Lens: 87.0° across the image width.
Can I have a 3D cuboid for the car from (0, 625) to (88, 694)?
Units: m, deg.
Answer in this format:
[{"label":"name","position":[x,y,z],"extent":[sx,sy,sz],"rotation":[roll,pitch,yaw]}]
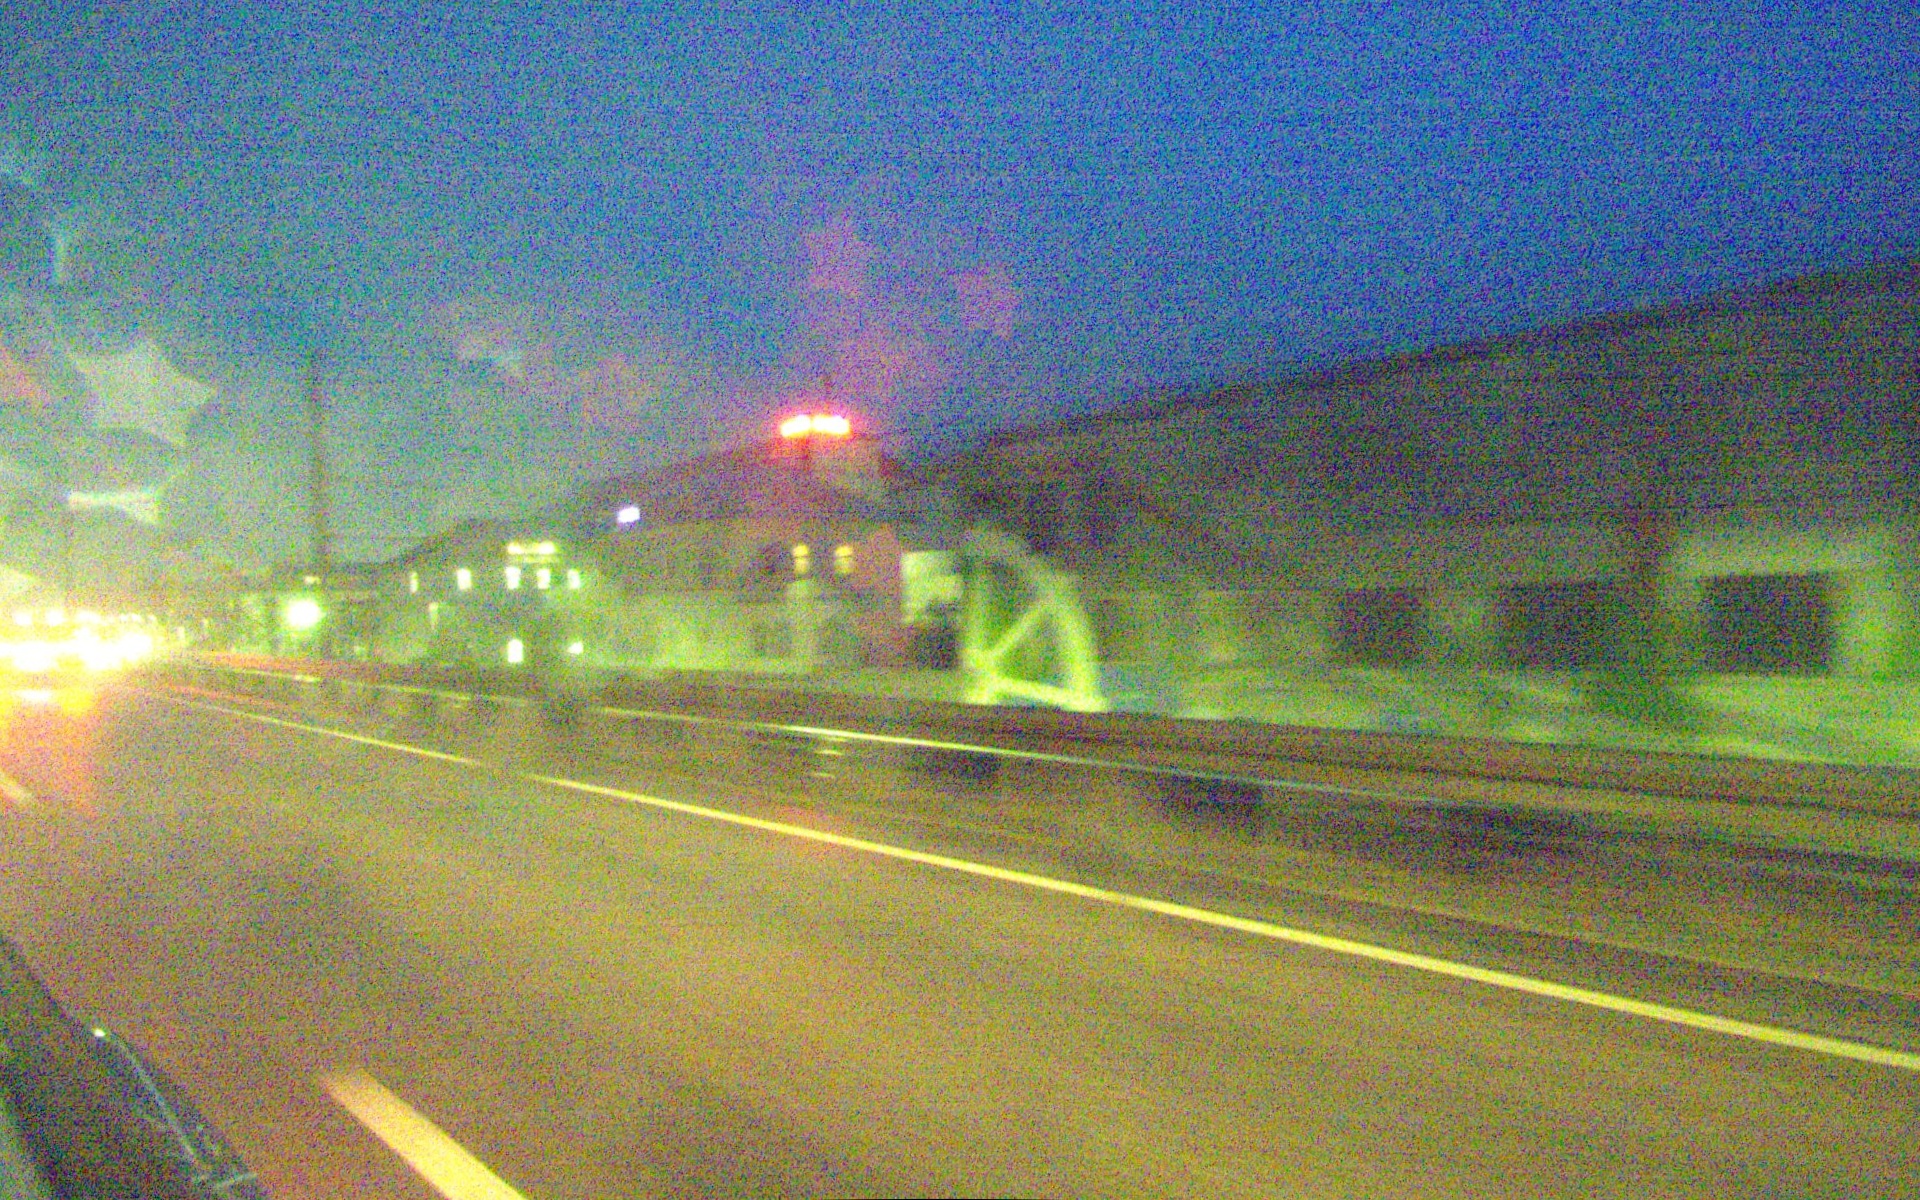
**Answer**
[{"label":"car","position":[-22.010,1.326,23.667],"extent":[4.462,1.454,1.848],"rotation":[-1,-1,41]}]
